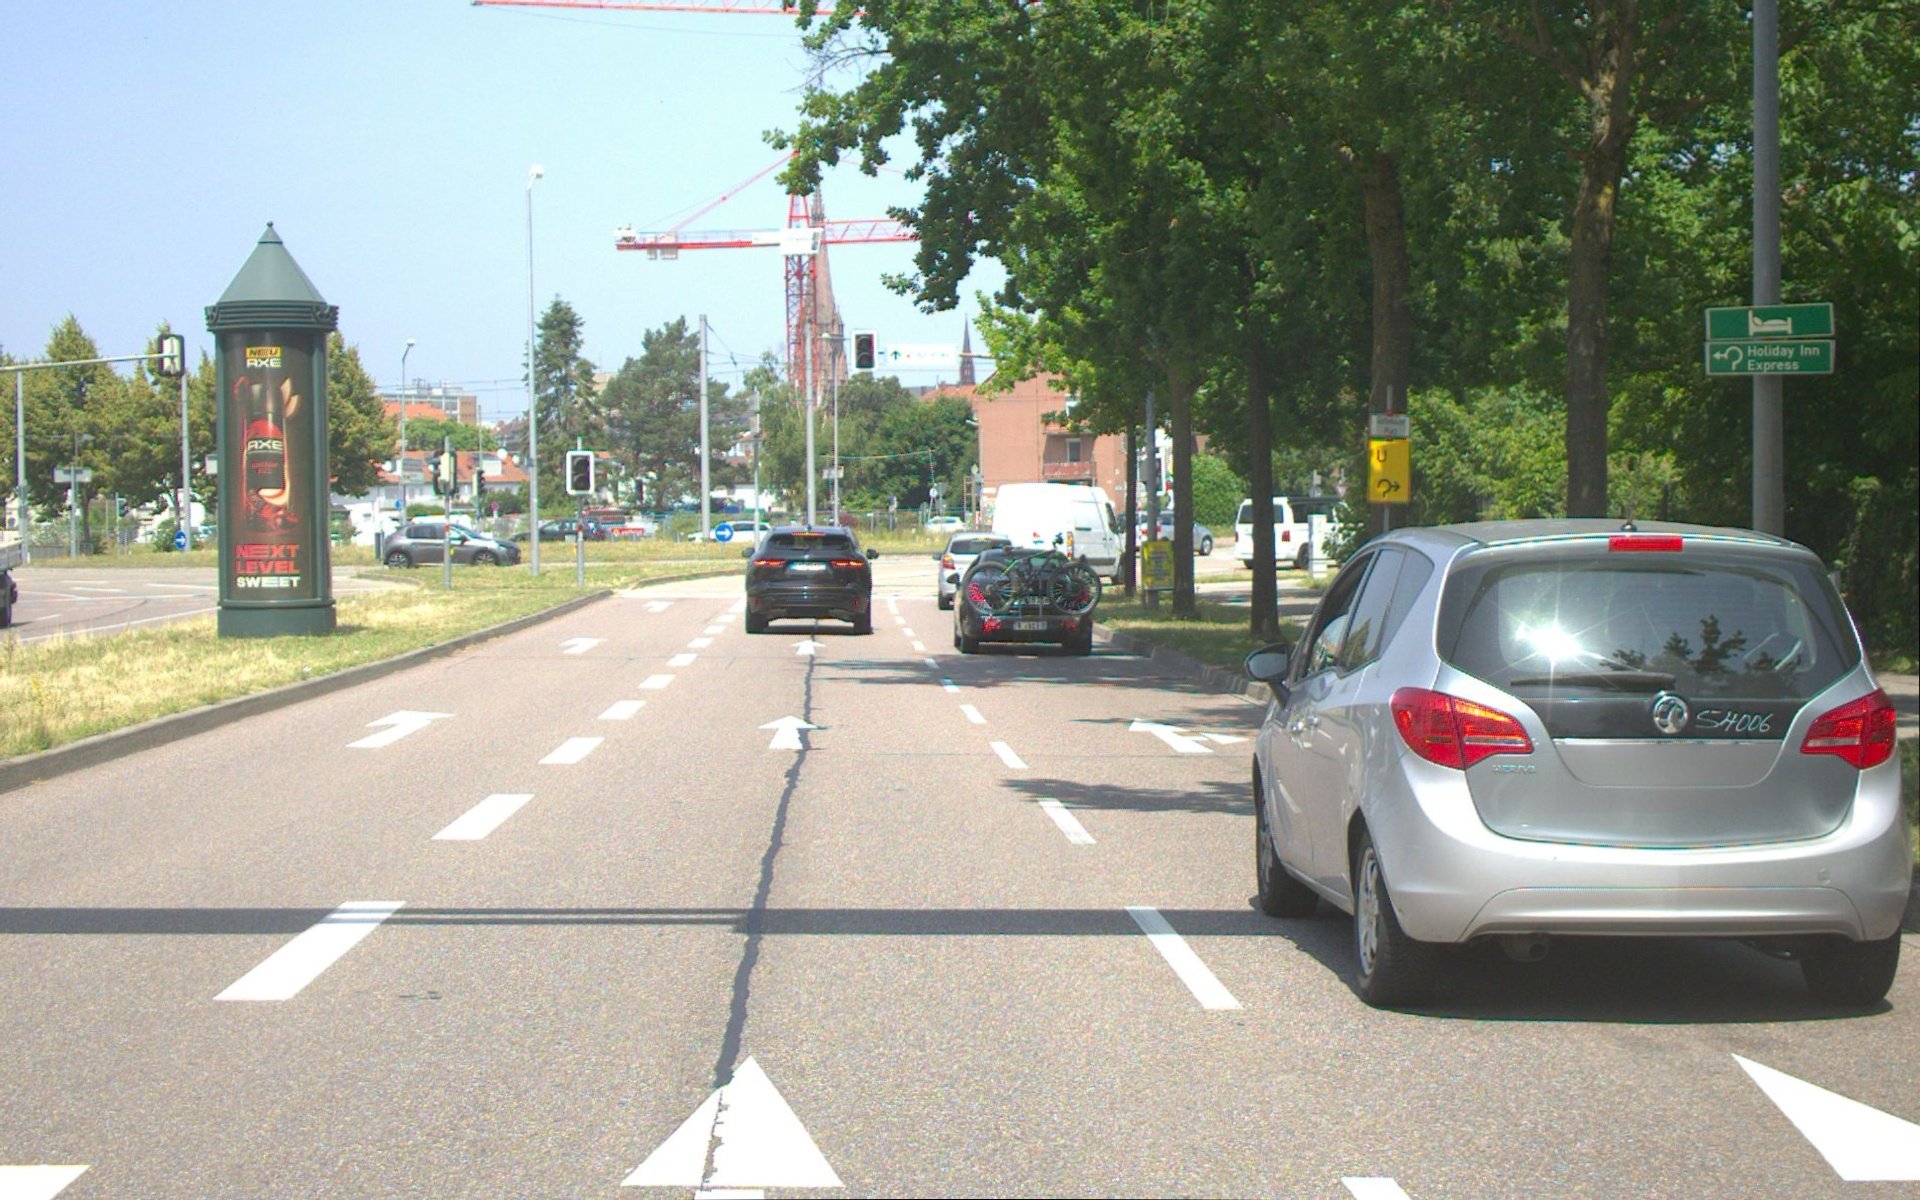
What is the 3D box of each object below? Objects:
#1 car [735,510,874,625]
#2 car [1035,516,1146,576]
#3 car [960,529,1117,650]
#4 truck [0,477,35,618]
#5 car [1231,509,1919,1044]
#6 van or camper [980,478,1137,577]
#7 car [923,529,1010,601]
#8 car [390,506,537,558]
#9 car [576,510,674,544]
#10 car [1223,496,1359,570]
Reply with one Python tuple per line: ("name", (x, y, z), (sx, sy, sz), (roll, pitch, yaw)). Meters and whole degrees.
("car", (-2.370, -0.533, 53.389), (1.998, 1.683, 4.034), (0, 2, -1))
("car", (3.979, -1.650, 104.427), (1.865, 1.744, 3.994), (0, 2, 27))
("car", (1.014, -0.181, 46.605), (2.014, 1.512, 4.461), (-1, 1, 0))
("truck", (-18.854, -0.955, 63.222), (2.638, 2.568, 6.320), (-1, 1, -7))
("car", (2.094, 0.482, 12.323), (1.792, 1.606, 3.891), (0, 1, -2))
("van or camper", (2.408, -1.746, 82.607), (2.495, 2.283, 4.917), (0, 1, 17))
("car", (0.147, -0.724, 68.685), (1.654, 1.351, 4.461), (-1, 1, 1))
("car", (-14.417, -1.974, 99.960), (3.987, 1.448, 2.000), (-1, 1, -1))
("car", (-14.799, -3.228, 151.941), (3.988, 1.459, 2.000), (-1, 1, 6))
("car", (9.266, -1.872, 96.040), (1.998, 2.007, 3.992), (0, 2, 36))
